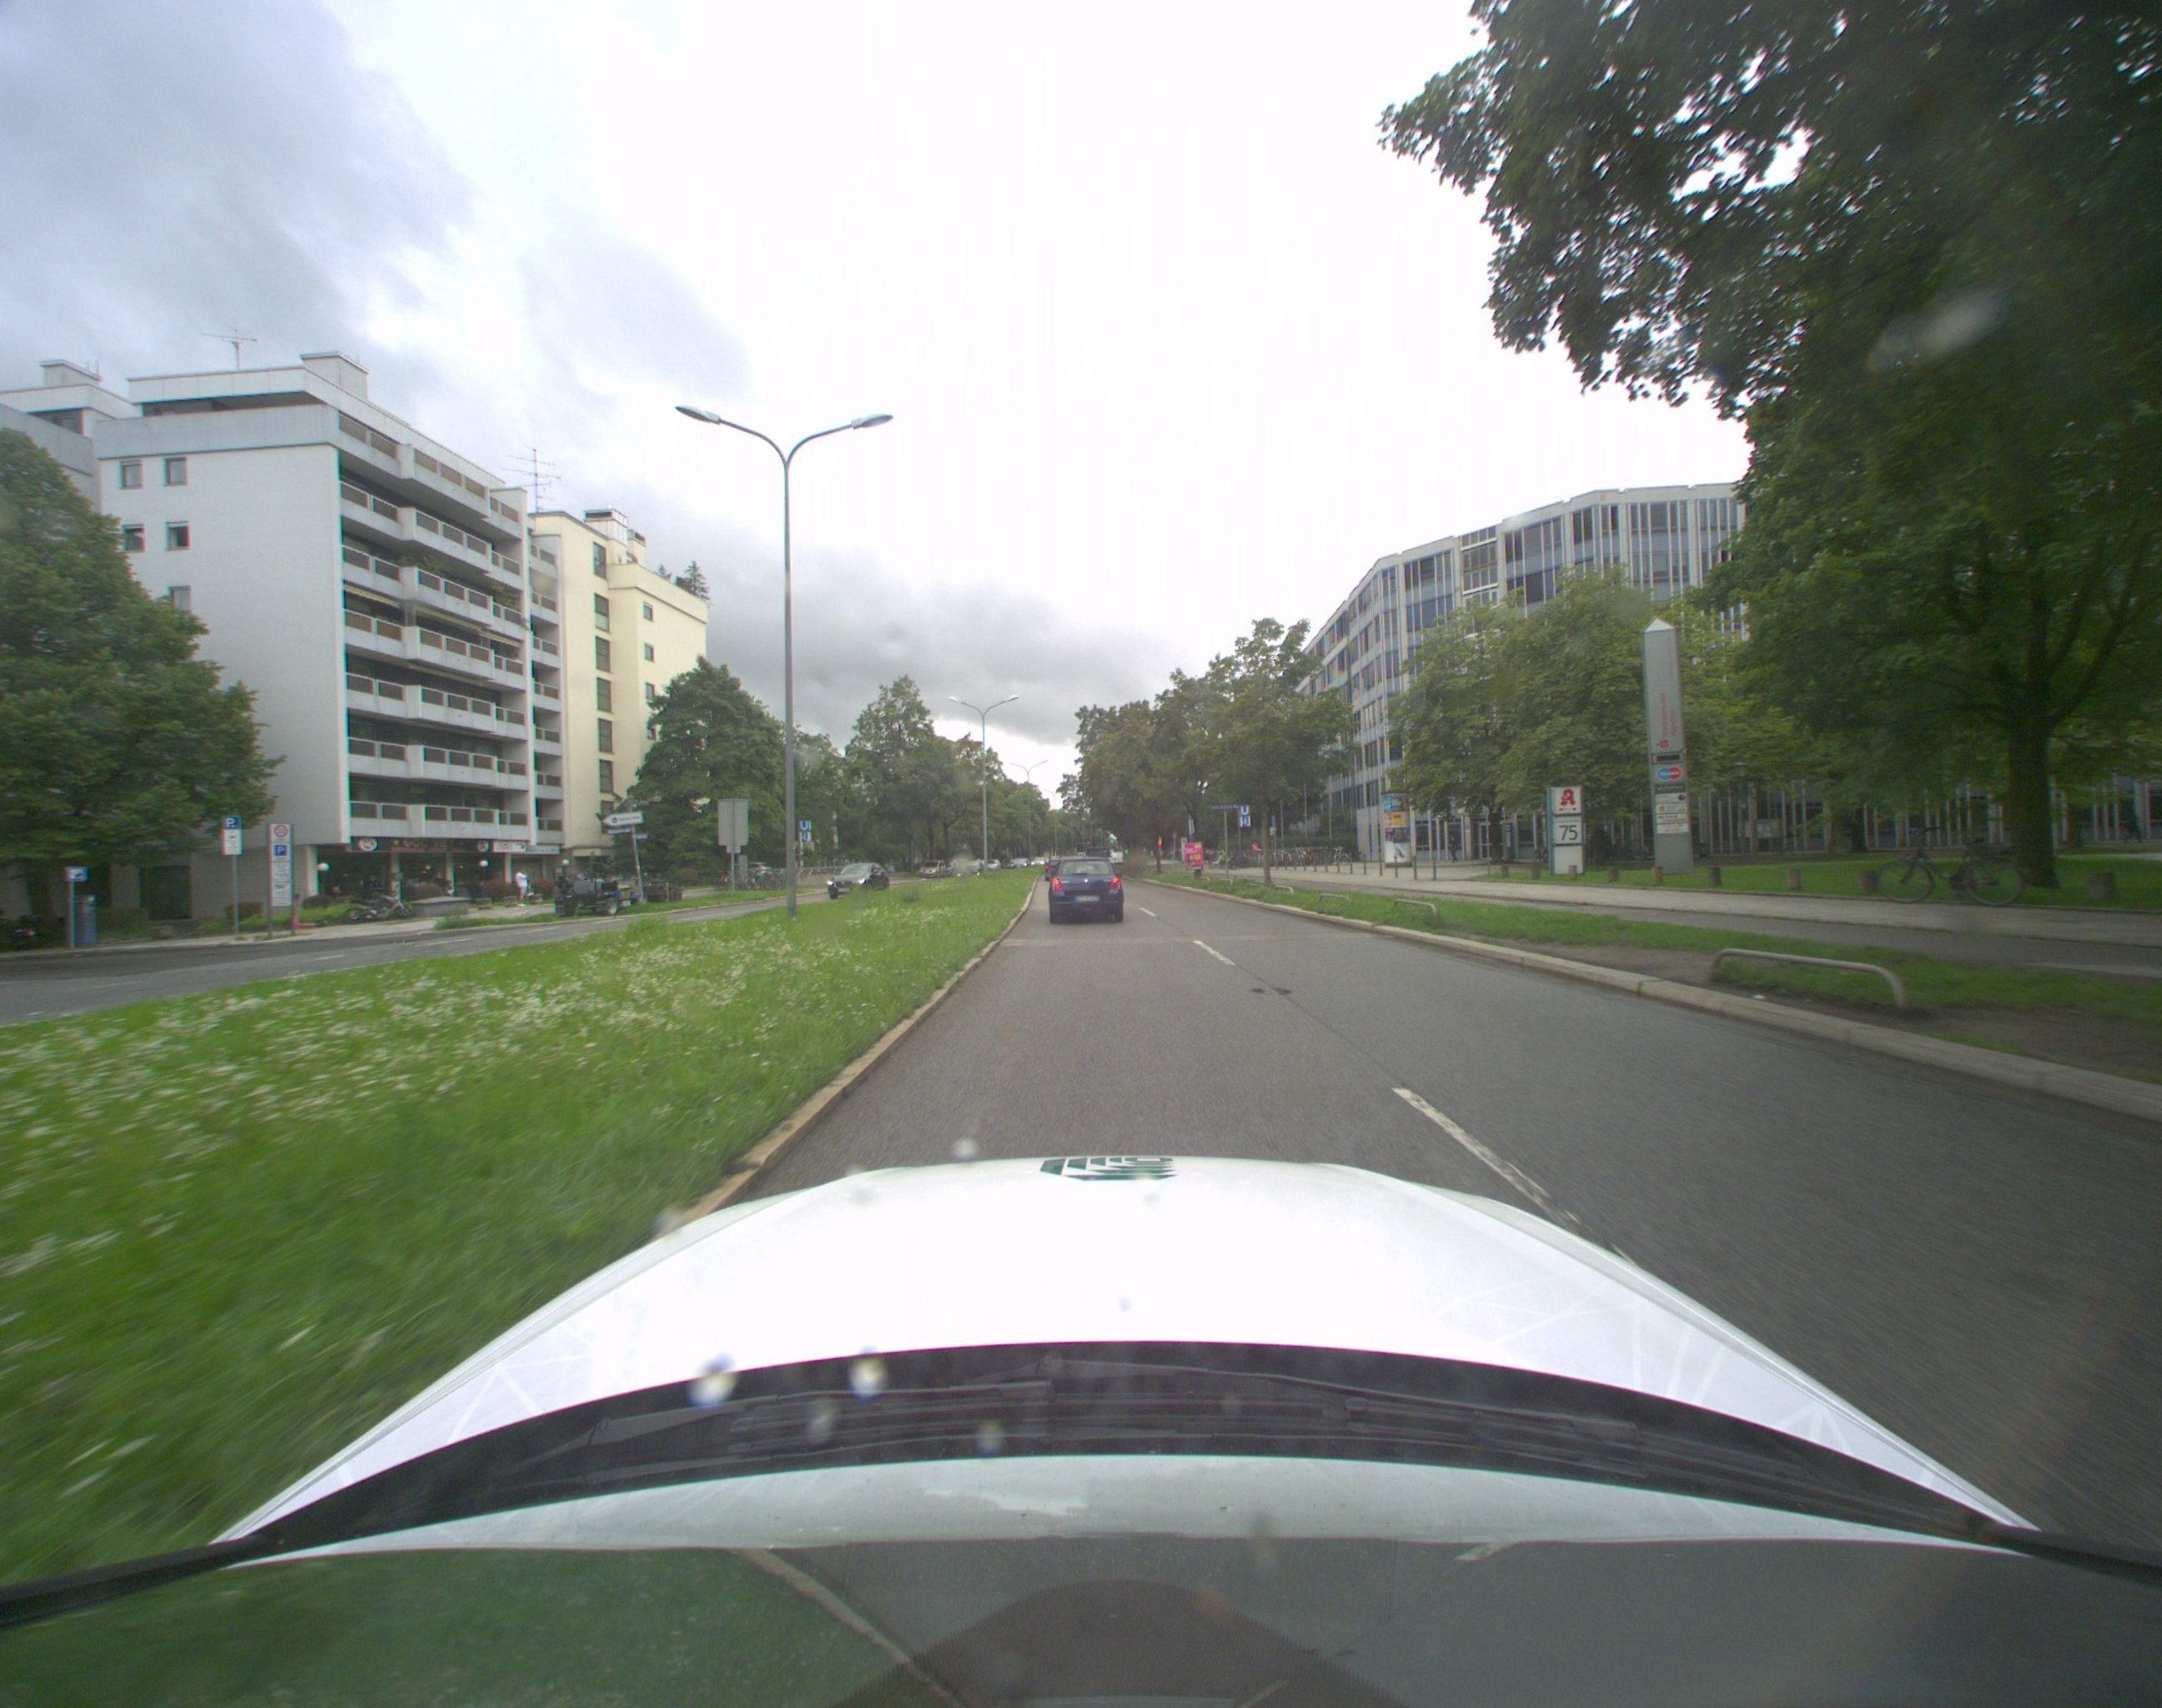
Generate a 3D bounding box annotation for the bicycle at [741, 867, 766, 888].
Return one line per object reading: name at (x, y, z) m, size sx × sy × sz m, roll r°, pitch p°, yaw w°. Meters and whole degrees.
bicycle at (-18.594, 1.330, 46.260) m, size 0.406 × 1.072 × 1.957 m, roll 2°, pitch 1°, yaw 6°

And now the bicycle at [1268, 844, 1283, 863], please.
bicycle at (12.304, -0.021, 51.550) m, size 0.486 × 1.189 × 1.954 m, roll -2°, pitch 0°, yaw 0°

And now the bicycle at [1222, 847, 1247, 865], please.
bicycle at (10.624, 0.153, 56.316) m, size 1.965 × 1.083 × 0.590 m, roll -6°, pitch 2°, yaw -42°

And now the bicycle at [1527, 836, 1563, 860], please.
bicycle at (25.175, -0.334, 44.194) m, size 0.605 × 1.260 × 2.052 m, roll -2°, pitch 0°, yaw -5°

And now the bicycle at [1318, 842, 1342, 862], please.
bicycle at (15.643, -0.129, 51.284) m, size 0.576 × 1.189 × 2.136 m, roll -2°, pitch 0°, yaw -7°

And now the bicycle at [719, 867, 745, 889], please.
bicycle at (-19.765, 1.349, 46.182) m, size 0.406 × 1.103 × 1.957 m, roll 2°, pitch 1°, yaw 6°

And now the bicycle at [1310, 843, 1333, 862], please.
bicycle at (14.998, -0.085, 50.878) m, size 0.511 × 1.189 × 2.136 m, roll -2°, pitch 0°, yaw -7°

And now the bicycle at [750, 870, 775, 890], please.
bicycle at (-18.052, 1.438, 46.181) m, size 0.406 × 1.040 × 1.957 m, roll 2°, pitch 1°, yaw 6°

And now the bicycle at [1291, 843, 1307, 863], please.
bicycle at (13.757, -0.066, 51.325) m, size 0.444 × 1.189 × 1.954 m, roll -2°, pitch 0°, yaw 0°

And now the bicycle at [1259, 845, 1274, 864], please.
bicycle at (11.726, 0.017, 51.554) m, size 0.486 × 1.189 × 1.954 m, roll -2°, pitch 0°, yaw 0°

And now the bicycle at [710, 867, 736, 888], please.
bicycle at (-20.280, 1.325, 46.202) m, size 0.406 × 1.097 × 1.957 m, roll 2°, pitch 1°, yaw 6°

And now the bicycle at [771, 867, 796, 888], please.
bicycle at (-16.852, 1.340, 46.211) m, size 0.406 × 1.089 × 2.088 m, roll 2°, pitch 1°, yaw 6°

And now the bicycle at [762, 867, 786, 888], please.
bicycle at (-17.378, 1.321, 46.192) m, size 0.406 × 1.078 × 1.957 m, roll 2°, pitch 1°, yaw 6°

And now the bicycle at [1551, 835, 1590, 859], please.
bicycle at (26.410, -0.371, 43.990) m, size 0.508 × 1.260 × 2.170 m, roll -2°, pitch 0°, yaw -7°

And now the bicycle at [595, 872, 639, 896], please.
bicycle at (-23.266, 1.515, 40.855) m, size 1.938 × 1.103 × 0.490 m, roll 2°, pitch 0°, yaw 6°

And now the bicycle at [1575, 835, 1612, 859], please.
bicycle at (27.818, -0.391, 44.241) m, size 0.508 × 1.260 × 2.017 m, roll -2°, pitch 0°, yaw -7°

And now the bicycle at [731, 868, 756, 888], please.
bicycle at (-19.178, 1.342, 46.277) m, size 0.406 × 1.030 × 1.957 m, roll 2°, pitch 1°, yaw 6°

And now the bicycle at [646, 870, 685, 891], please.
bicycle at (-22.761, 1.444, 44.604) m, size 1.938 × 1.103 × 0.490 m, roll 2°, pitch 0°, yaw 6°

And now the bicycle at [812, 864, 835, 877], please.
bicycle at (-21.449, 1.361, 67.833) m, size 1.755 × 1.007 × 0.437 m, roll -2°, pitch 0°, yaw 3°

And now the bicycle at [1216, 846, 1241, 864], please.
bicycle at (10.404, 0.076, 57.430) m, size 1.965 × 1.108 × 0.573 m, roll -7°, pitch 3°, yaw -42°

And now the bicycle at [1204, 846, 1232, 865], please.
bicycle at (9.781, 0.099, 58.219) m, size 1.961 × 1.188 × 0.591 m, roll -6°, pitch 2°, yaw -31°

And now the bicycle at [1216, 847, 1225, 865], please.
bicycle at (10.451, 0.162, 60.966) m, size 0.527 × 1.226 × 1.866 m, roll -4°, pitch 2°, yaw 7°

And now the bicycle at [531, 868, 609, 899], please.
bicycle at (-24.140, 1.399, 38.478) m, size 3.310 × 1.283 × 0.789 m, roll 2°, pitch 0°, yaw 6°

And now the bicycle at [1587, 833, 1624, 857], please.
bicycle at (28.532, -0.464, 44.315) m, size 0.508 × 1.260 × 1.949 m, roll -2°, pitch 0°, yaw -7°

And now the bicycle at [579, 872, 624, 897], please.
bicycle at (-23.424, 1.475, 39.789) m, size 1.938 × 1.103 × 0.561 m, roll 2°, pitch 0°, yaw 6°

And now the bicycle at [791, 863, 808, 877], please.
bicycle at (-23.226, 1.344, 67.248) m, size 0.576 × 1.099 × 2.034 m, roll -2°, pitch 0°, yaw 4°

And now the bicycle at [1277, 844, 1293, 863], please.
bicycle at (12.908, -0.052, 51.608) m, size 0.486 × 1.189 × 1.954 m, roll -2°, pitch 0°, yaw 0°

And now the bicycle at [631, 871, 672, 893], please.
bicycle at (-22.919, 1.488, 43.483) m, size 1.938 × 1.103 × 0.561 m, roll 2°, pitch 0°, yaw 6°

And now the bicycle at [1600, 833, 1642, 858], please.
bicycle at (29.152, -0.455, 44.016) m, size 0.552 × 1.260 × 2.170 m, roll -2°, pitch 0°, yaw -7°

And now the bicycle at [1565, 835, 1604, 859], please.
bicycle at (27.227, -0.354, 44.035) m, size 0.508 × 1.260 × 2.170 m, roll -2°, pitch 0°, yaw -7°

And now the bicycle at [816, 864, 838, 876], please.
bicycle at (-21.616, 1.367, 69.340) m, size 1.755 × 1.007 × 0.437 m, roll -2°, pitch 0°, yaw 3°

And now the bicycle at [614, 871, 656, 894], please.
bicycle at (-23.082, 1.478, 42.160) m, size 1.938 × 1.103 × 0.490 m, roll 2°, pitch 0°, yaw 6°

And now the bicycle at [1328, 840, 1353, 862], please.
bicycle at (16.388, -0.191, 51.514) m, size 0.508 × 1.294 × 2.472 m, roll -2°, pitch 0°, yaw -7°

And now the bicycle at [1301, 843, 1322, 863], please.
bicycle at (14.439, -0.076, 51.064) m, size 0.445 × 1.189 × 2.136 m, roll -2°, pitch 0°, yaw -7°
